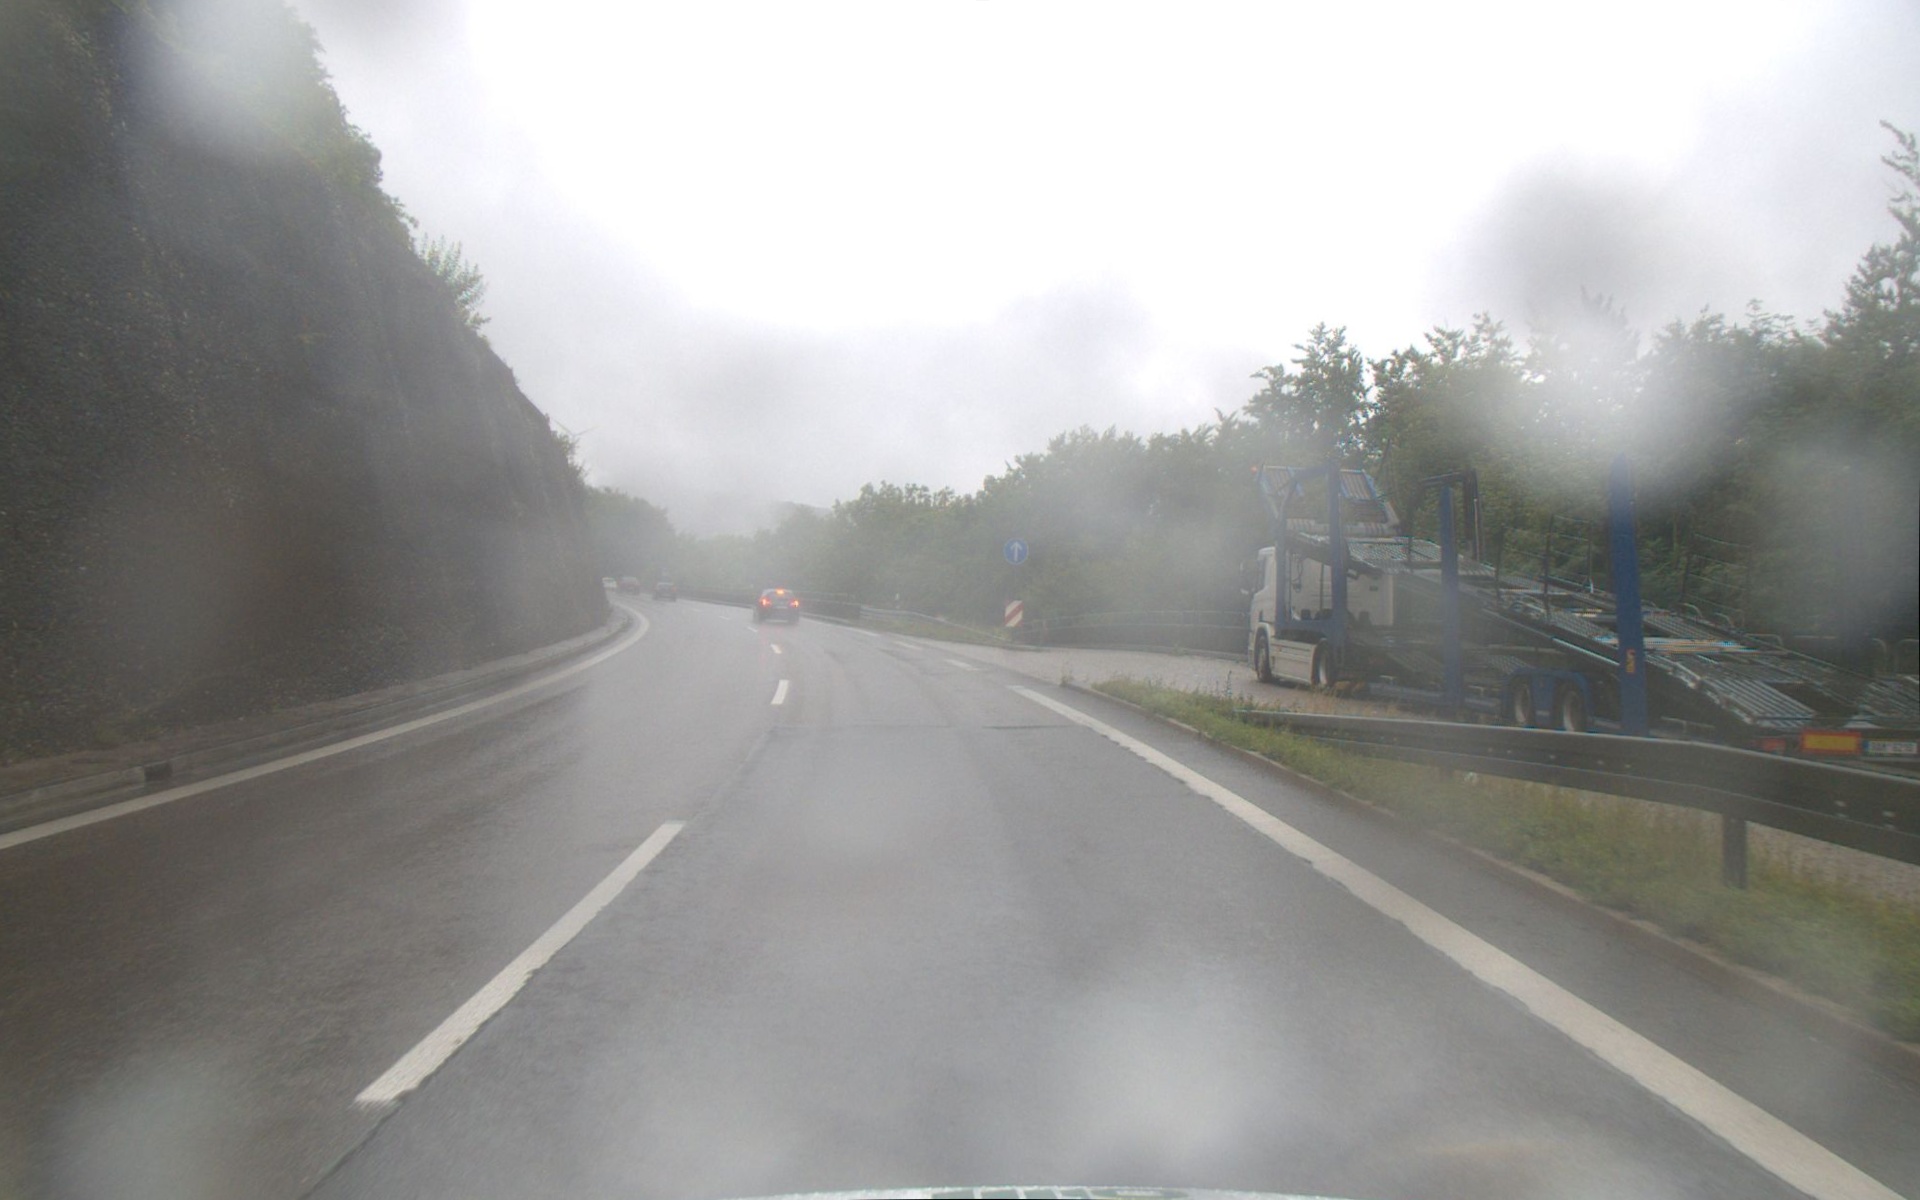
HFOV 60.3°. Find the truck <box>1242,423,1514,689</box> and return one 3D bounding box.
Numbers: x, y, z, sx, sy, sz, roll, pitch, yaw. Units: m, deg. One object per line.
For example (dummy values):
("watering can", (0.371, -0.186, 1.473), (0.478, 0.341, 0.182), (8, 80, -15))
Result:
("truck", (7.425, -0.710, 30.464), (2.839, 4.319, 6.875), (0, 0, -4))

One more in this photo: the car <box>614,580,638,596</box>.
("car", (-33.417, -1.176, 165.283), (1.874, 1.525, 3.981), (2, 0, -17))

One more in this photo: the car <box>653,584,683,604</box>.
("car", (-24.391, -0.490, 137.924), (1.875, 1.525, 3.979), (2, 0, -19))

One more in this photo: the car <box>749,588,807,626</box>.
("car", (-8.057, 0.283, 73.052), (1.873, 1.525, 3.983), (2, 0, -16))

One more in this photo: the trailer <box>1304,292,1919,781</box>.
("trailer", (8.040, -0.547, 22.050), (2.835, 4.319, 14.684), (0, 0, -4))
